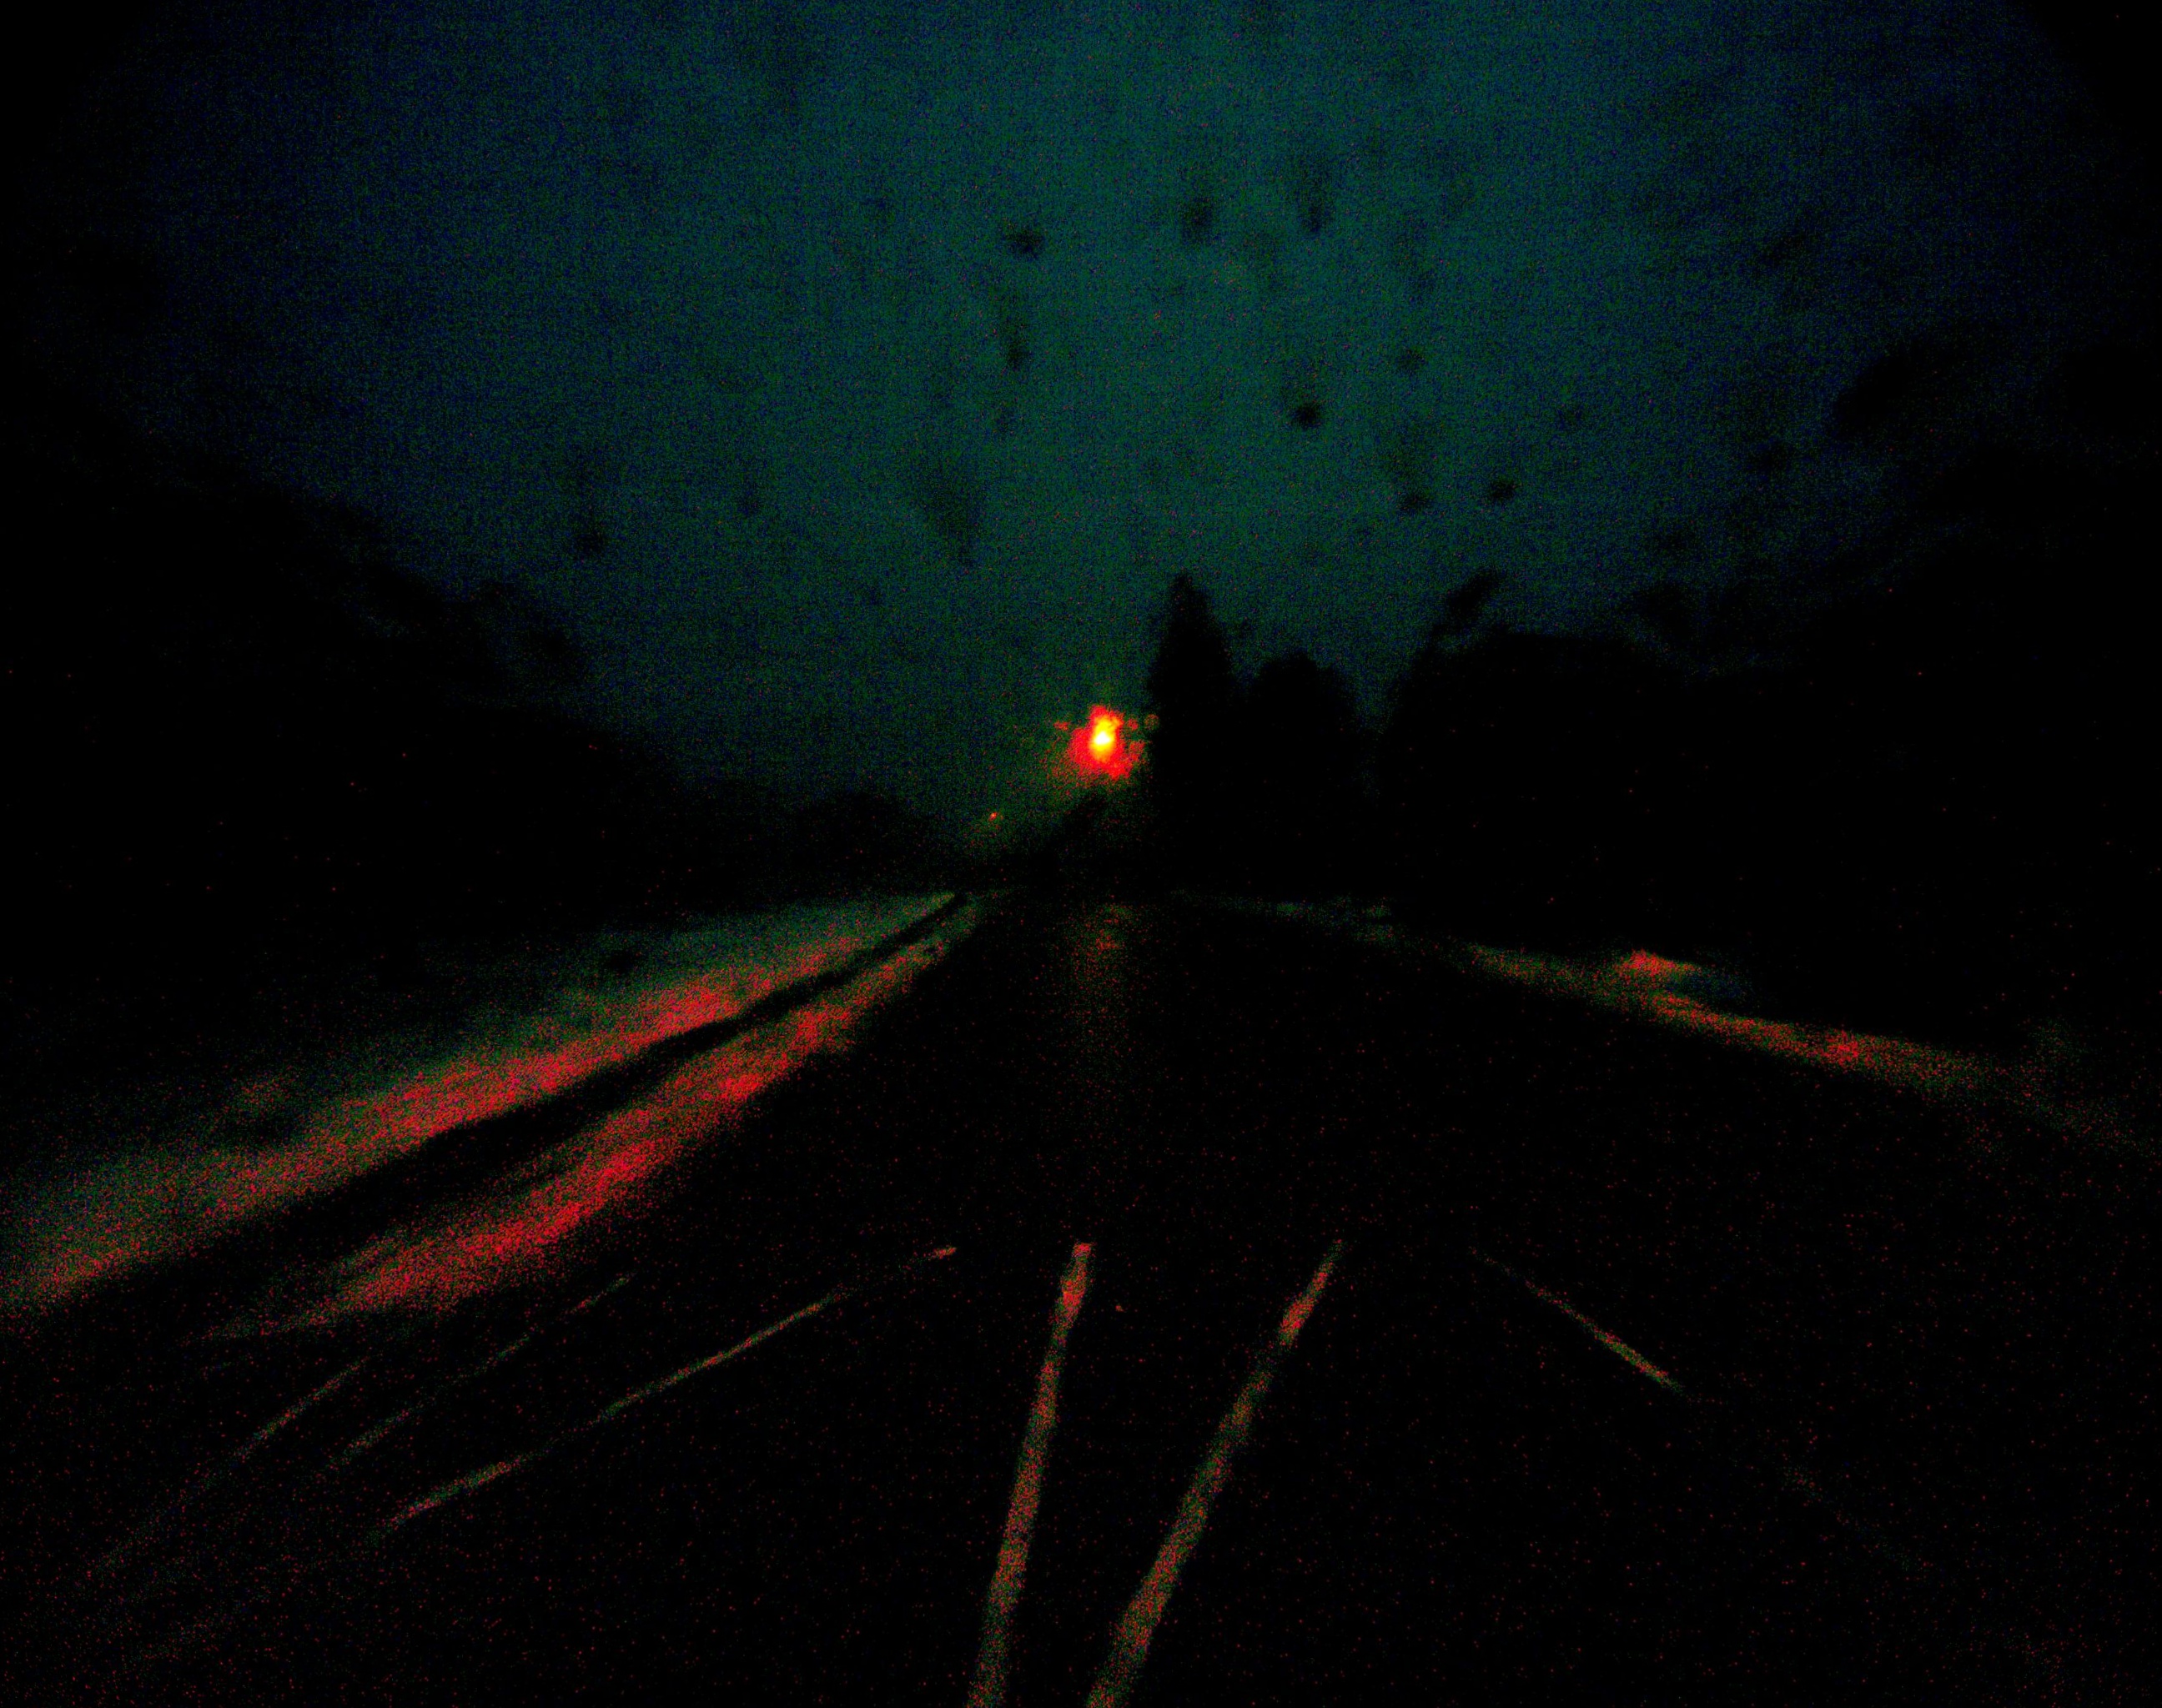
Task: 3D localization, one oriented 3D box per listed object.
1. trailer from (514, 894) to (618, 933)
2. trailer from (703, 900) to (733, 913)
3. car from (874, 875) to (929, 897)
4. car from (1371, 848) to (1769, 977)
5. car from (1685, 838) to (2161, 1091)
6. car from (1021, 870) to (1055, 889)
[{"bbox_3d":[-31.500,3.591,46.648,4.759,1.930,2.222,-4,-2,-18],"label":"trailer"},{"bbox_3d":[-27.792,4.003,58.279,1.851,0.939,3.657,0,-3,-23],"label":"trailer"},{"bbox_3d":[-15.810,2.787,67.009,4.465,1.373,2.034,-6,-1,-13],"label":"car"},{"bbox_3d":[7.111,0.722,11.858,2.002,1.557,4.988,2,0,-20],"label":"car"},{"bbox_3d":[7.800,0.702,6.125,4.543,1.557,2.109,0,0,-10],"label":"car"},{"bbox_3d":[-3.676,2.139,63.719,1.883,1.417,5.388,-3,-2,-14],"label":"car"}]
